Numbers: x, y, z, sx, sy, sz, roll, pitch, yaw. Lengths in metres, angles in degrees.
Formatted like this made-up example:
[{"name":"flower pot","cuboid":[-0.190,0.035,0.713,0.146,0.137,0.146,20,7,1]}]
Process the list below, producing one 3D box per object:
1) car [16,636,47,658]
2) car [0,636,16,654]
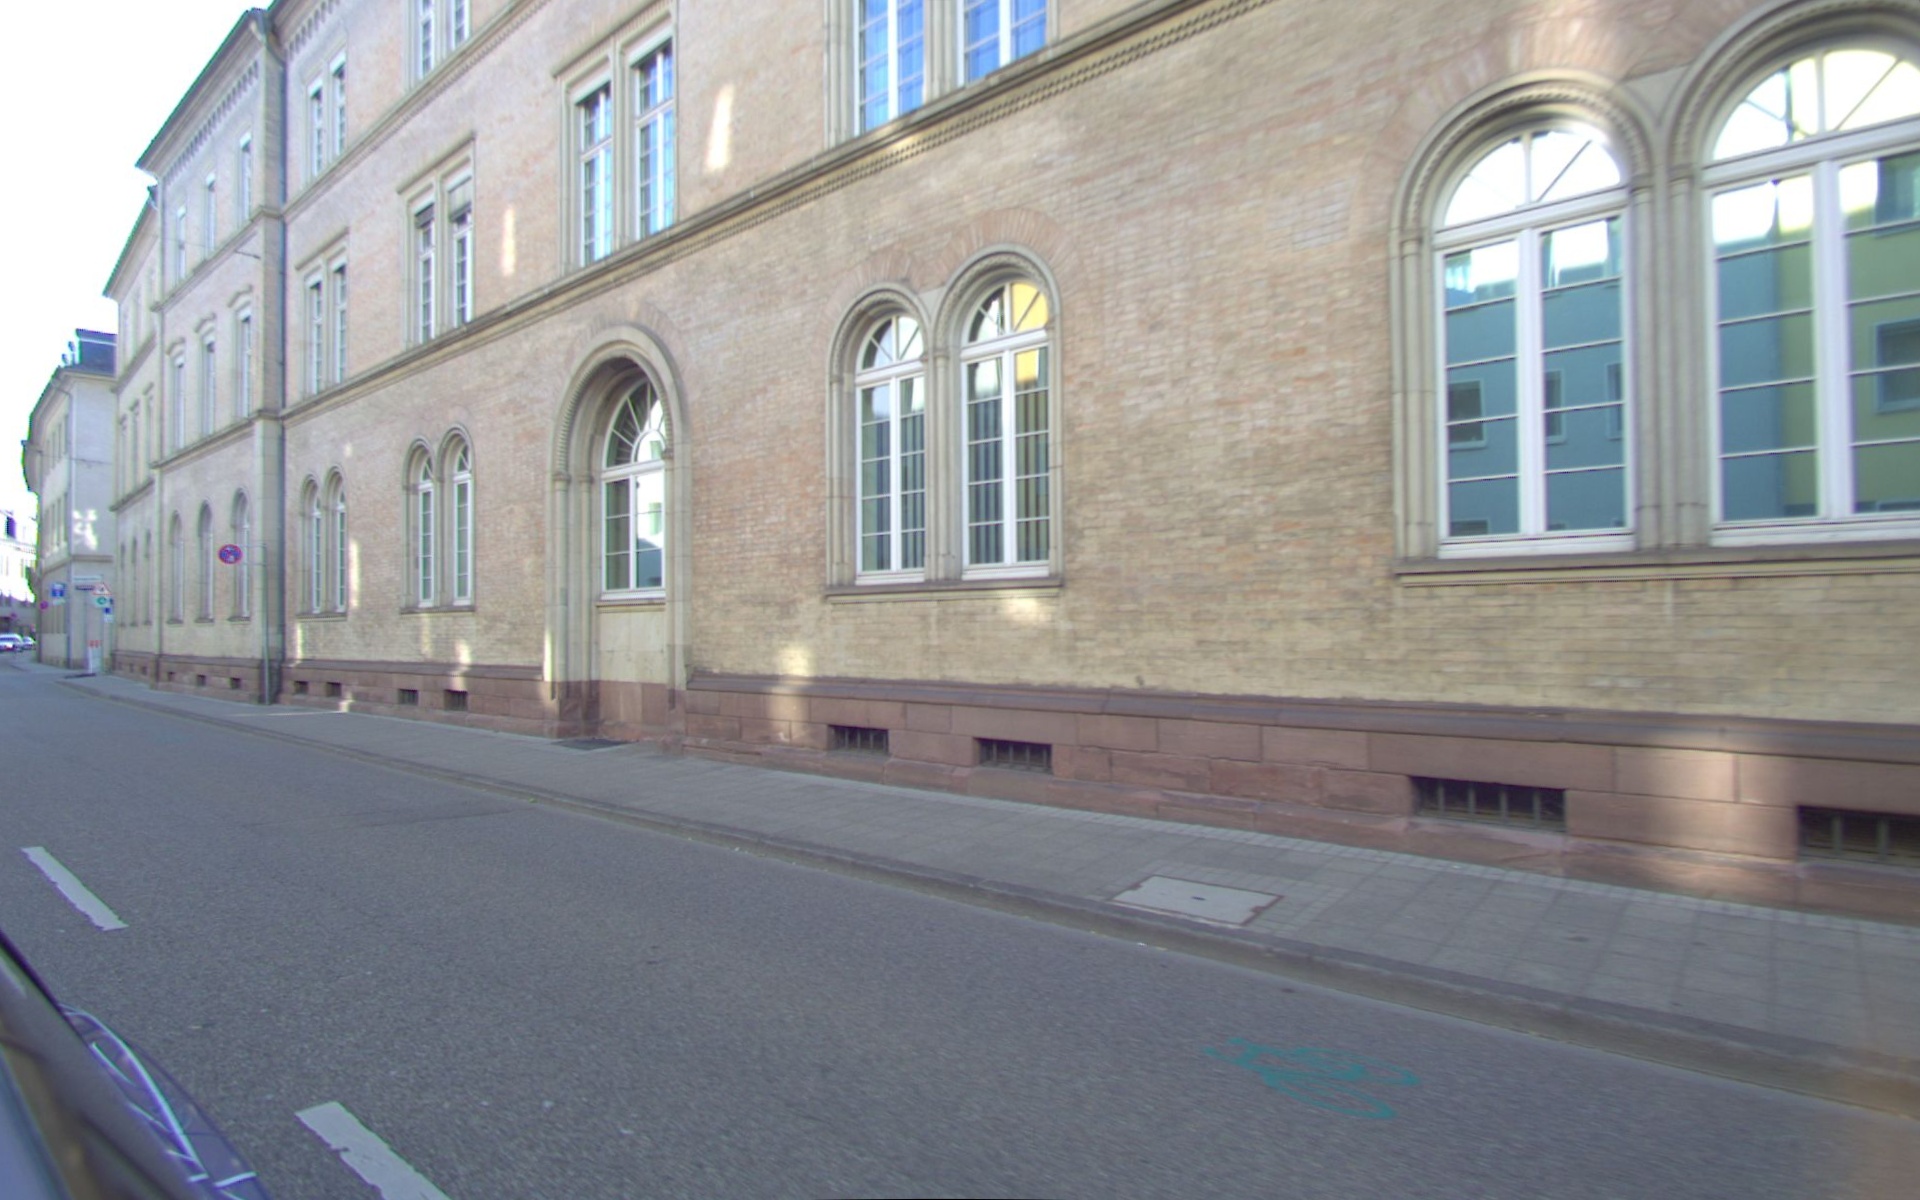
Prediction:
[{"name":"car","cuboid":[-77.581,3.921,84.600,1.639,1.737,3.746,1,-2,-38]},{"name":"car","cuboid":[-94.875,4.422,99.807,1.892,1.735,4.972,0,-2,-35]}]
